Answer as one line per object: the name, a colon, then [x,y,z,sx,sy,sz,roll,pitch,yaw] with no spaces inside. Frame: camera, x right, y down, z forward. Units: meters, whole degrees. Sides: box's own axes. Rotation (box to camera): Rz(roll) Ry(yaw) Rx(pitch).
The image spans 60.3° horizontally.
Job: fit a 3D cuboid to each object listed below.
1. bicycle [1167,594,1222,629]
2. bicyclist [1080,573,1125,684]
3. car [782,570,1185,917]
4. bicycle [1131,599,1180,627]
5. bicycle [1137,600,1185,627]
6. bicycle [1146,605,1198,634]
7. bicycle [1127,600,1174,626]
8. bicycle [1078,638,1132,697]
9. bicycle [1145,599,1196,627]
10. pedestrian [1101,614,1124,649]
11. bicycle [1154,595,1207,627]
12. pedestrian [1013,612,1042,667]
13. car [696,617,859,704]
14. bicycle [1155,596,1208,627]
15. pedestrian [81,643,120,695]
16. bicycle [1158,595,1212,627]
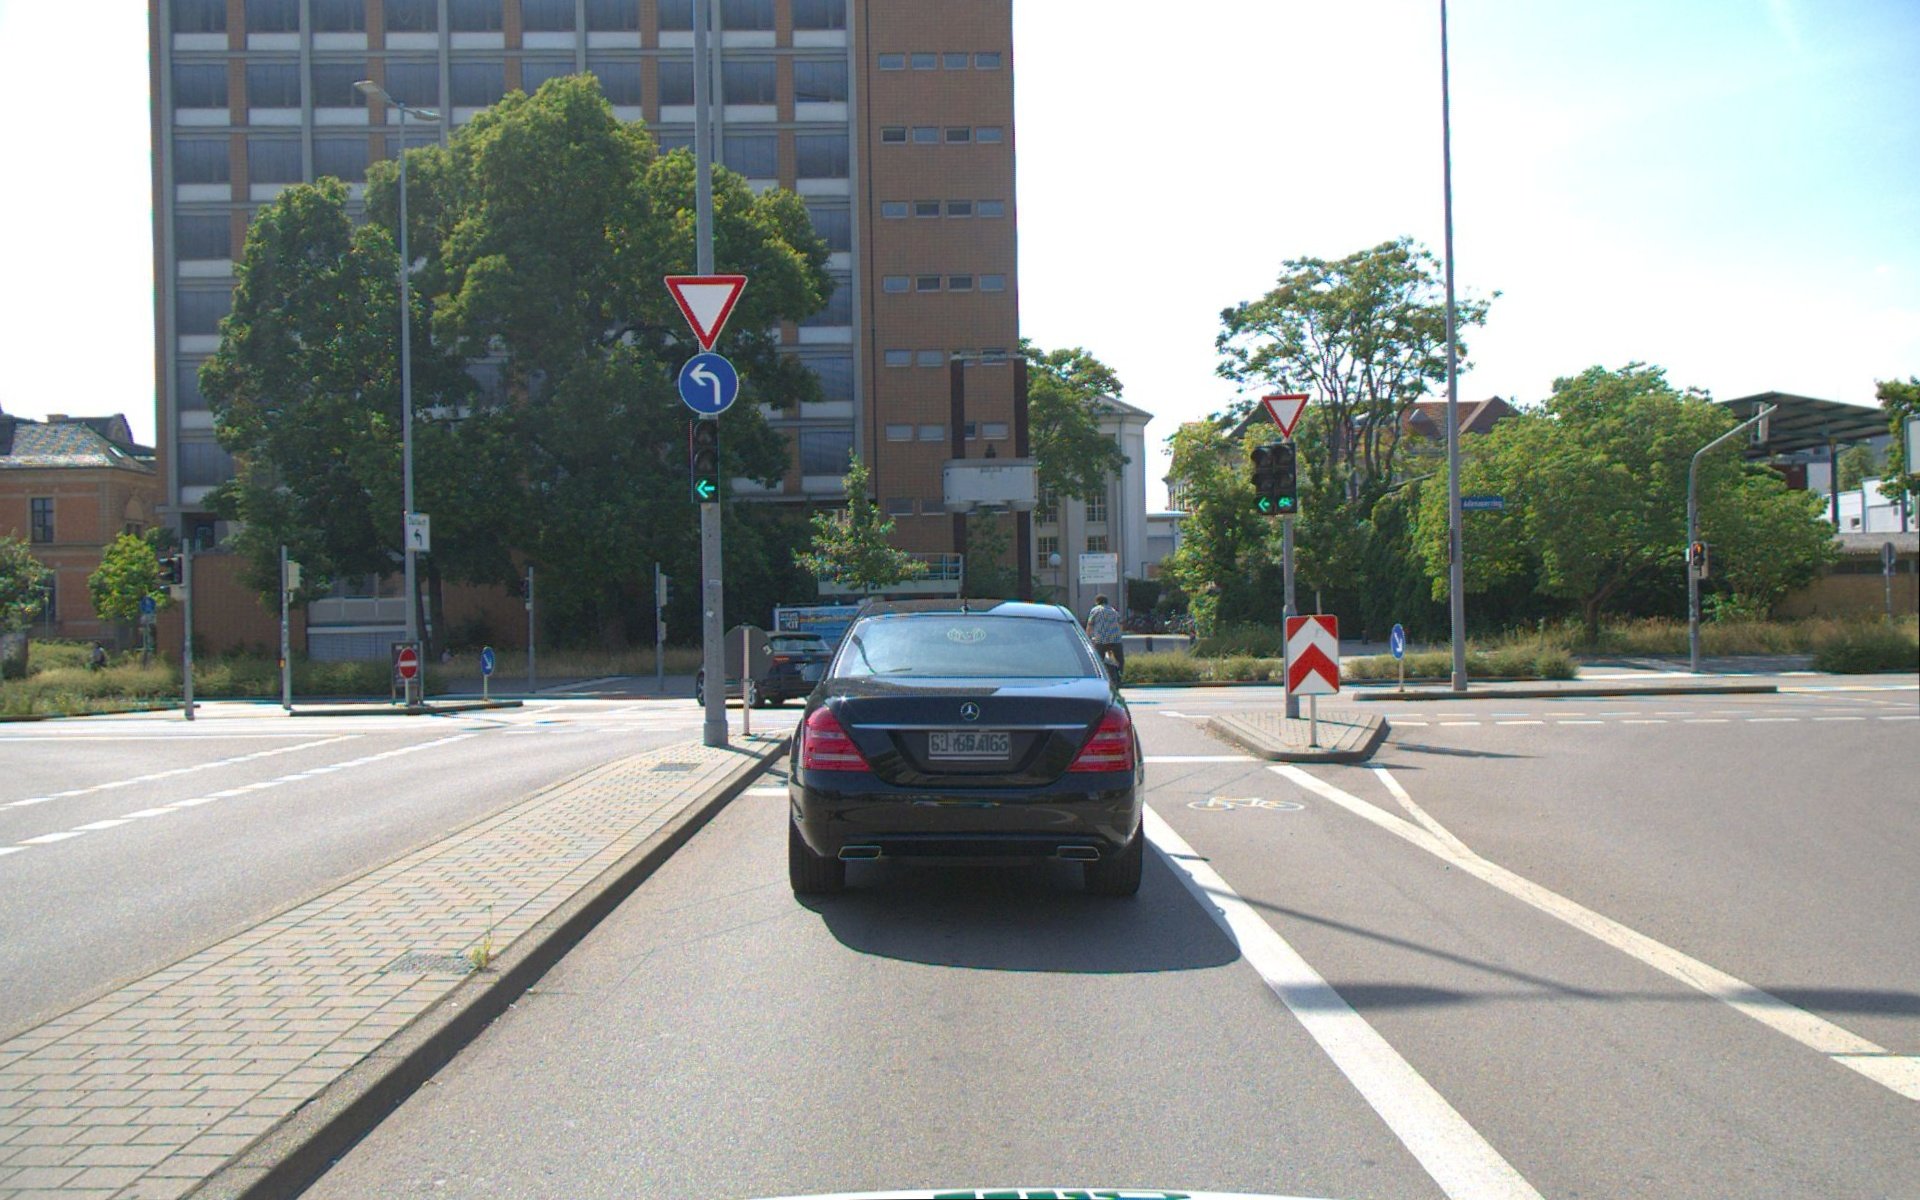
bicycle: [12.665,0.606,89.402,2.766,1.775,0.841,-2,0,-2]
bicyclist: [2.498,0.500,29.068,0.672,1.911,0.859,0,-1,-3]
car: [0.087,0.678,9.873,1.821,1.557,4.712,1,-1,-1]
bicycle: [11.593,0.782,98.021,2.766,1.586,0.841,-2,0,-2]
bicycle: [12.145,0.793,100.090,2.766,1.526,0.841,-2,0,-2]
bicycle: [12.027,1.086,93.919,2.766,1.564,0.841,-2,0,-2]
bicycle: [11.719,0.803,101.826,2.765,1.506,0.841,-2,0,0]
bicycle: [2.515,1.153,28.830,0.678,0.963,1.957,1,-1,-3]
bicycle: [12.051,0.754,94.876,2.766,1.534,0.841,-2,0,-2]
pedestrian: [5.478,1.144,59.349,0.776,1.235,0.758,1,-1,6]
bicycle: [12.248,0.619,91.922,2.766,1.688,0.841,-2,1,-2]
pedestrian: [2.000,1.179,49.120,0.794,1.607,0.692,-1,-1,1]
car: [-3.559,1.165,31.651,1.774,1.537,3.962,0,-2,-28]
bicycle: [12.440,0.644,92.927,2.766,1.615,0.841,-2,0,-2]
pedestrian: [-29.570,2.375,56.918,0.781,1.756,0.873,-2,-1,22]
bicycle: [12.334,0.620,90.738,2.766,1.678,0.841,-2,0,-2]
